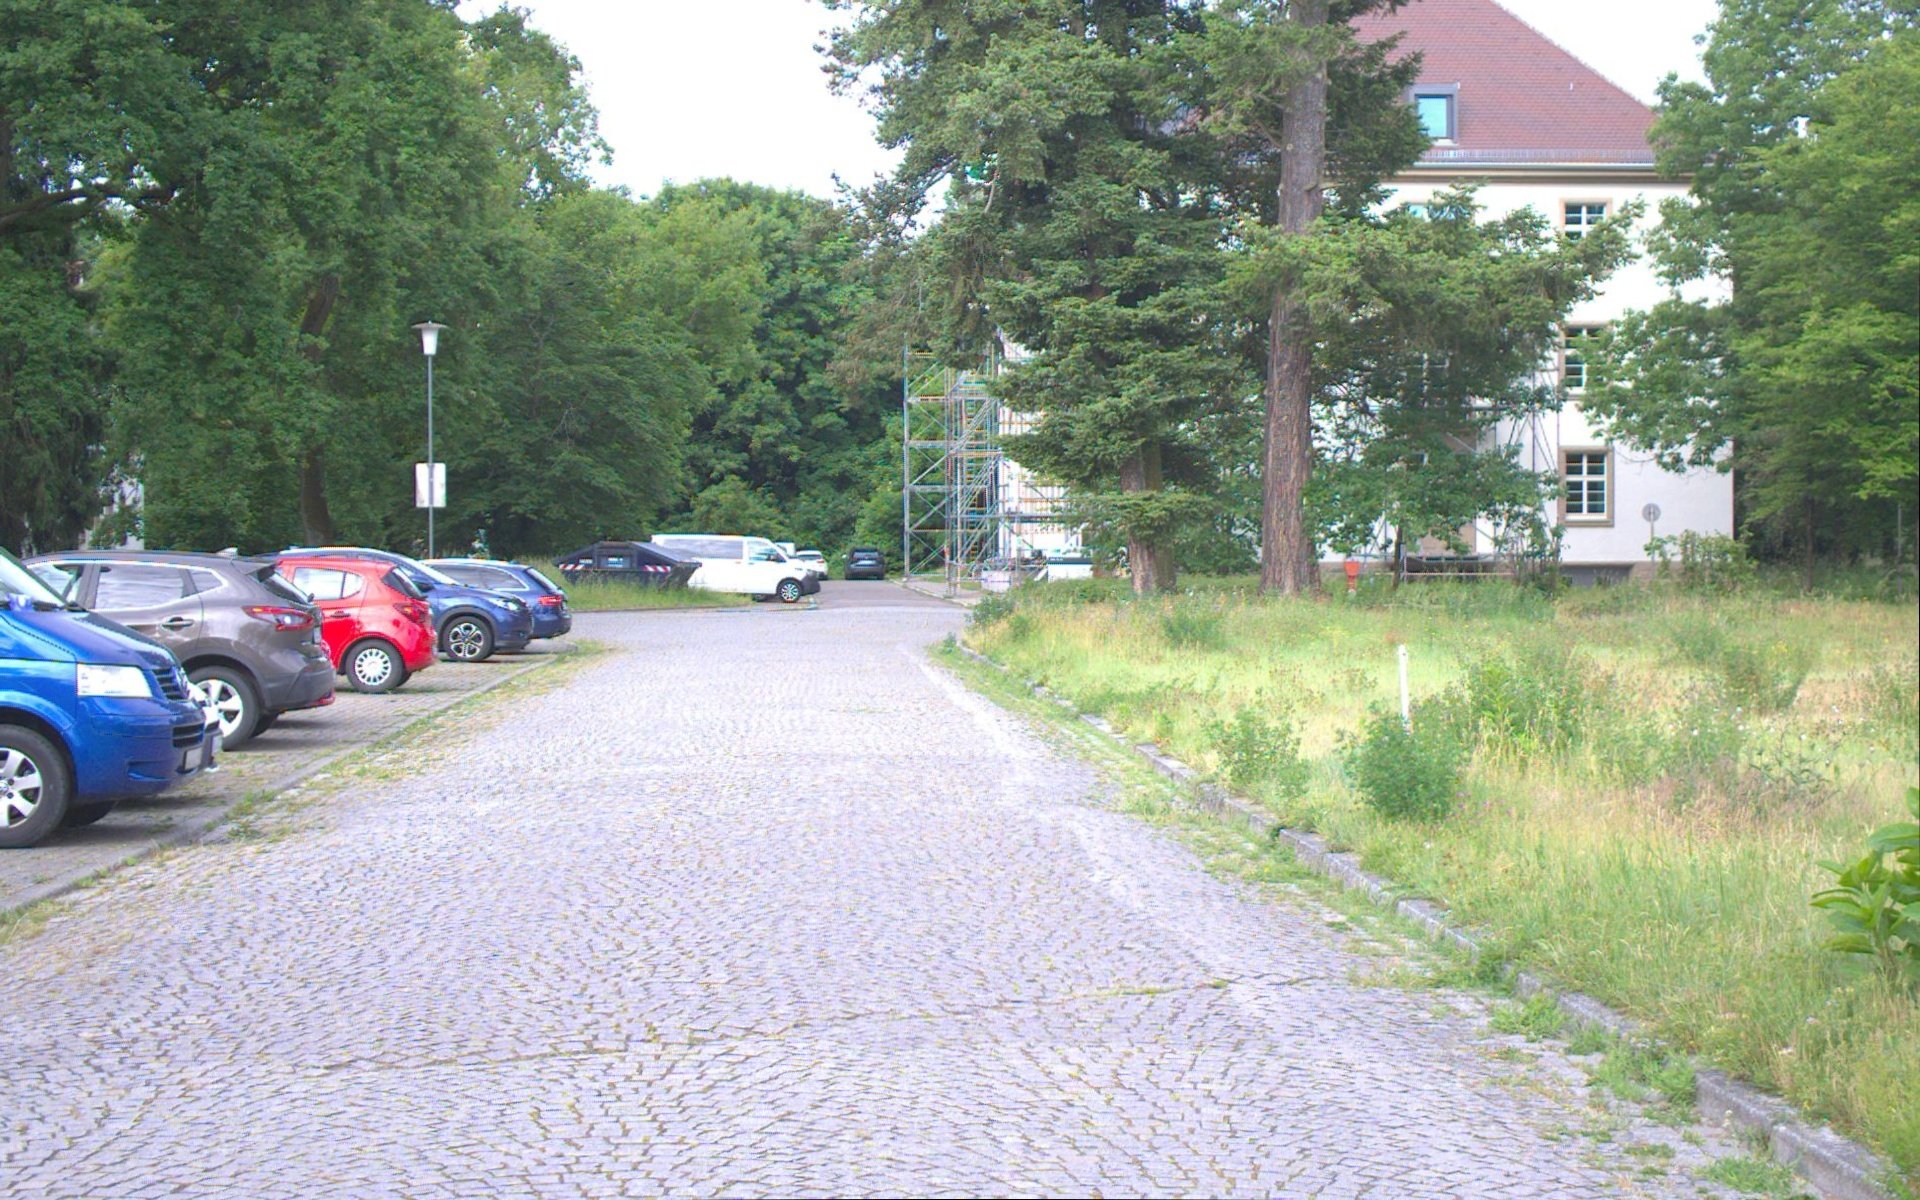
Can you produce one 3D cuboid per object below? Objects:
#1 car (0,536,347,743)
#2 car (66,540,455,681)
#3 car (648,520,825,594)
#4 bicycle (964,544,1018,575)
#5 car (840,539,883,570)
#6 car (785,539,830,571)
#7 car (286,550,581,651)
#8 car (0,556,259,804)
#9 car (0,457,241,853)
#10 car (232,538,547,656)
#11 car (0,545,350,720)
[{"bbox_3d":[-7.226,0.296,28.181,4.165,1.616,1.987,0,1,-5],"label":"car"},{"bbox_3d":[-7.781,0.094,38.538,4.054,1.520,1.905,0,1,-4],"label":"car"},{"bbox_3d":[-6.672,-1.283,102.423,5.234,2.160,2.000,0,1,-5],"label":"car"},{"bbox_3d":[1.275,-1.658,141.552,2.240,1.250,0.634,0,1,0],"label":"bicycle"},{"bbox_3d":[-4.836,-2.234,168.848,1.951,1.516,4.001,0,1,-4],"label":"car"},{"bbox_3d":[-7.498,-2.205,168.443,2.118,1.516,4.001,0,1,-4],"label":"car"},{"bbox_3d":[-8.153,-0.007,53.508,4.302,1.456,1.975,1,1,-1],"label":"car"},{"bbox_3d":[-6.694,0.486,21.906,4.165,1.505,1.782,0,1,-5],"label":"car"},{"bbox_3d":[-6.621,0.282,19.313,4.781,2.115,2.115,0,1,-3],"label":"car"},{"bbox_3d":[-8.055,-0.057,48.807,4.227,1.571,1.887,1,1,-4],"label":"car"},{"bbox_3d":[-7.695,0.271,30.905,4.165,1.505,1.908,0,1,-4],"label":"car"}]
